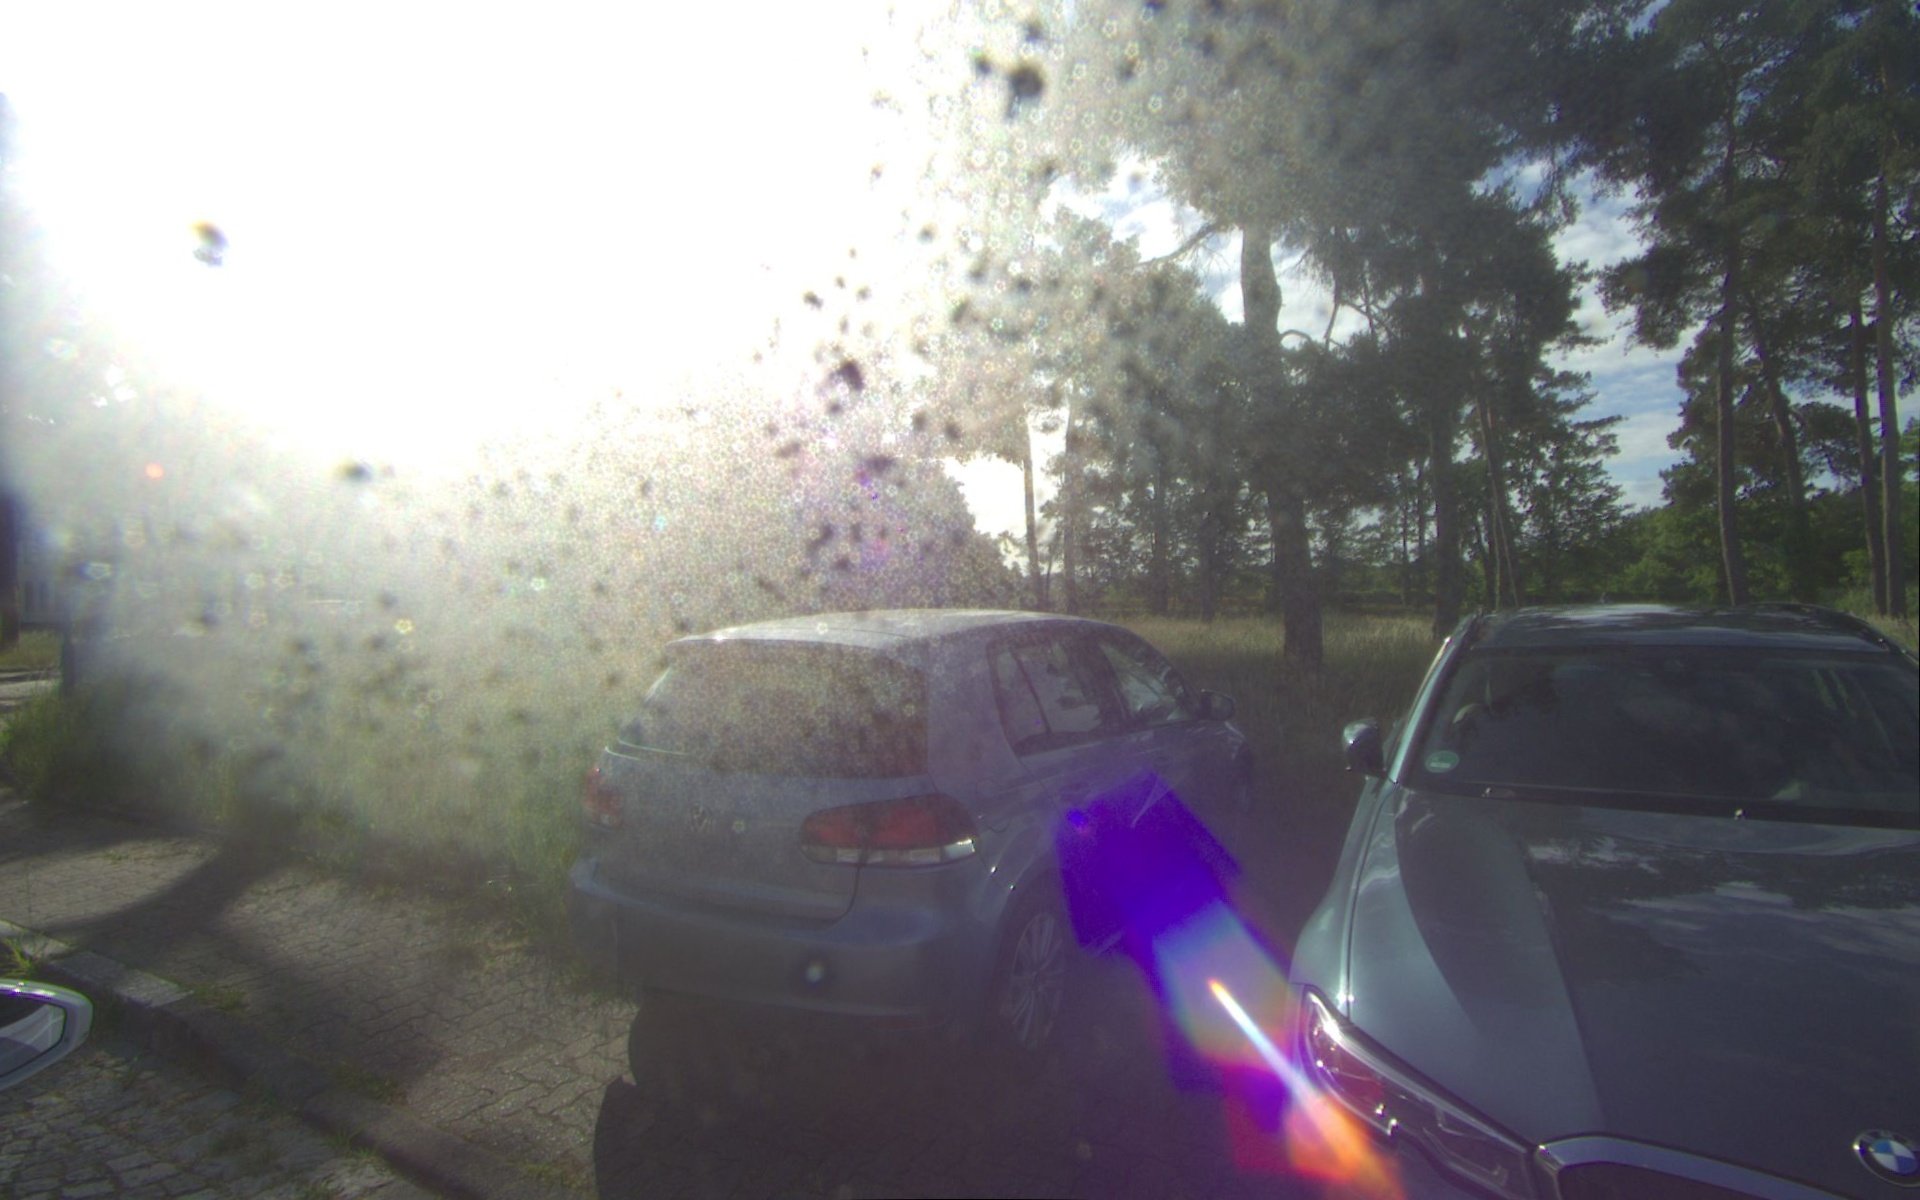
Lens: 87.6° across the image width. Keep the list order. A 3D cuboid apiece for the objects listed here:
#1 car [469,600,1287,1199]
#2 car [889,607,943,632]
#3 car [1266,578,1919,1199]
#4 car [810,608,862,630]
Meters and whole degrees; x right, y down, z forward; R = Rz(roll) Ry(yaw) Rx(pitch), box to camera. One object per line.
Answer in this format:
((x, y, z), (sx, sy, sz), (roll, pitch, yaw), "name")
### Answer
((0.134, 0.771, 4.684), (1.843, 1.480, 4.008), (-1, 0, 31), "car")
((-2.921, 1.276, 67.220), (1.827, 1.620, 3.984), (0, 0, 28), "car")
((2.370, 0.714, 3.306), (1.798, 1.537, 4.490), (-1, 1, 28), "car")
((-8.846, 1.341, 71.663), (1.818, 1.483, 3.984), (0, 0, 28), "car")
